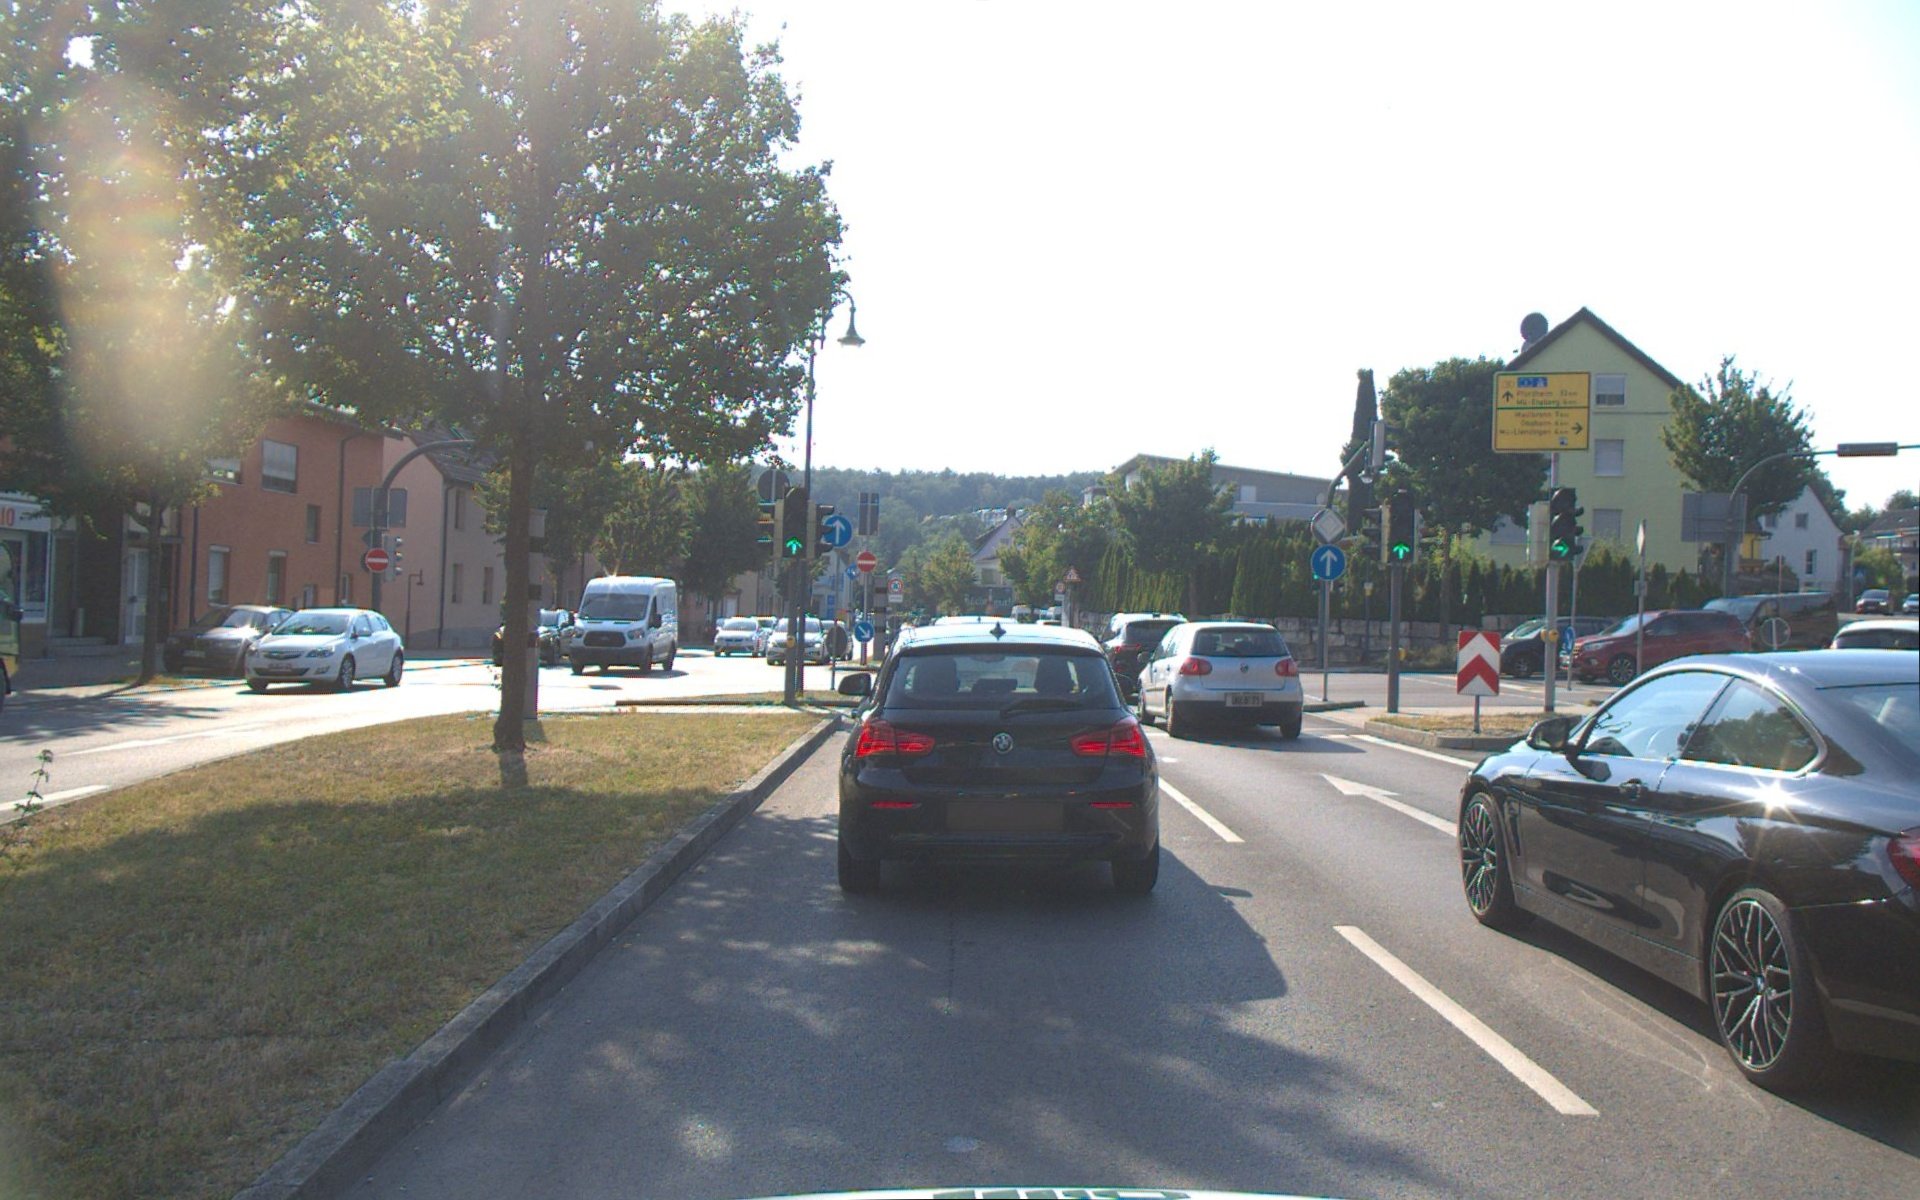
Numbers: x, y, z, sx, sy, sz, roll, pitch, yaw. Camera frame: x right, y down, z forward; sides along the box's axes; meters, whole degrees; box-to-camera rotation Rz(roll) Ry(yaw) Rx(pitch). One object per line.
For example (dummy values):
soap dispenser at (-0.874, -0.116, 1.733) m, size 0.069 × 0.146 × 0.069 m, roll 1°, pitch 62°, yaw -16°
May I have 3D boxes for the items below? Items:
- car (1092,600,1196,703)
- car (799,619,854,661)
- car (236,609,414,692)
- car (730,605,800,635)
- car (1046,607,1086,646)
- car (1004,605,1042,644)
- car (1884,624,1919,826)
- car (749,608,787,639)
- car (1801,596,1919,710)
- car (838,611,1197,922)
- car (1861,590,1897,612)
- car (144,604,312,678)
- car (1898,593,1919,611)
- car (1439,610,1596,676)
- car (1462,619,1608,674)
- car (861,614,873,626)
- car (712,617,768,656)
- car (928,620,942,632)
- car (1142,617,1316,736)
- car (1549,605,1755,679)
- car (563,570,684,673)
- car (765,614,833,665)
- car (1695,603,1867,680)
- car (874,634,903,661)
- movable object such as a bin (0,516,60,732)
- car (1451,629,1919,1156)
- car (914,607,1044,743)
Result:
car at (3.423, 0.928, 31.232) m, size 1.570 × 1.798 × 3.410 m, roll 1°, pitch 0°, yaw 0°
car at (-4.731, 1.412, 58.956) m, size 1.556 × 1.452 × 3.578 m, roll 1°, pitch -1°, yaw 2°
car at (-11.881, 0.896, 31.246) m, size 1.656 × 1.439 × 4.214 m, roll 1°, pitch 0°, yaw 1°
car at (-17.650, 1.839, 150.122) m, size 6.035 × 2.487 × 2.248 m, roll 2°, pitch -1°, yaw -2°
car at (7.754, 1.920, 121.414) m, size 2.069 × 2.769 × 6.438 m, roll 1°, pitch 0°, yaw -4°
car at (4.548, 1.785, 121.037) m, size 2.107 × 2.727 × 6.598 m, roll 1°, pitch 0°, yaw -3°
car at (7.576, 0.889, 10.094) m, size 1.596 × 1.435 × 4.279 m, roll 0°, pitch 0°, yaw 2°
car at (-10.721, 1.319, 92.503) m, size 1.651 × 1.640 × 4.412 m, roll 1°, pitch -1°, yaw -1°
car at (13.740, 0.743, 24.152) m, size 1.833 × 1.520 × 3.980 m, roll 0°, pitch -1°, yaw 39°
car at (0.259, 0.834, 9.896) m, size 1.735 × 1.482 × 3.515 m, roll 1°, pitch 0°, yaw -1°
car at (58.462, 0.082, 105.180) m, size 1.779 × 1.368 × 3.989 m, roll 1°, pitch 0°, yaw 33°
car at (-15.507, 0.832, 35.258) m, size 1.759 × 1.439 × 3.941 m, roll 1°, pitch 0°, yaw 1°
car at (73.195, 0.173, 127.046) m, size 1.779 × 1.368 × 3.989 m, roll 1°, pitch 0°, yaw 33°
car at (14.260, 1.079, 42.439) m, size 3.707 × 1.569 × 1.599 m, roll 1°, pitch 0°, yaw 18°
car at (16.191, 1.299, 46.653) m, size 3.527 × 1.475 × 1.625 m, roll -1°, pitch -2°, yaw -5°
car at (-12.895, 2.747, 228.670) m, size 1.565 × 1.511 × 3.472 m, roll 2°, pitch 0°, yaw -3°
car at (-8.675, 1.431, 65.463) m, size 1.721 × 1.436 × 3.999 m, roll 1°, pitch 0°, yaw -1°
car at (-3.255, 3.372, 215.637) m, size 1.565 × 1.511 × 3.472 m, roll 2°, pitch 0°, yaw -3°
car at (3.531, 0.967, 22.238) m, size 1.718 × 1.439 × 3.421 m, roll 1°, pitch 0°, yaw -1°
car at (16.415, 0.978, 39.332) m, size 4.157 × 1.654 × 1.860 m, roll 1°, pitch 0°, yaw -6°
car at (-8.756, 0.551, 43.536) m, size 2.042 × 2.519 × 5.478 m, roll 1°, pitch 0°, yaw 0°
car at (-5.179, 1.246, 53.664) m, size 1.797 × 1.514 × 4.565 m, roll 1°, pitch 0°, yaw -1°
car at (22.181, 1.098, 44.630) m, size 5.118 × 1.966 × 1.976 m, roll 1°, pitch -1°, yaw -35°
car at (-4.228, 2.813, 98.509) m, size 1.500 × 1.488 × 3.506 m, roll 1°, pitch 0°, yaw 1°
movable object such as a bin at (-11.928, 0.259, 17.887) m, size 1.520 × 2.505 × 4.978 m, roll 1°, pitch 0°, yaw 1°
car at (3.430, 0.842, 6.482) m, size 1.665 × 1.393 × 4.261 m, roll 0°, pitch 0°, yaw -1°
car at (0.199, 0.923, 22.032) m, size 1.559 × 1.628 × 3.892 m, roll 1°, pitch 0°, yaw -1°
